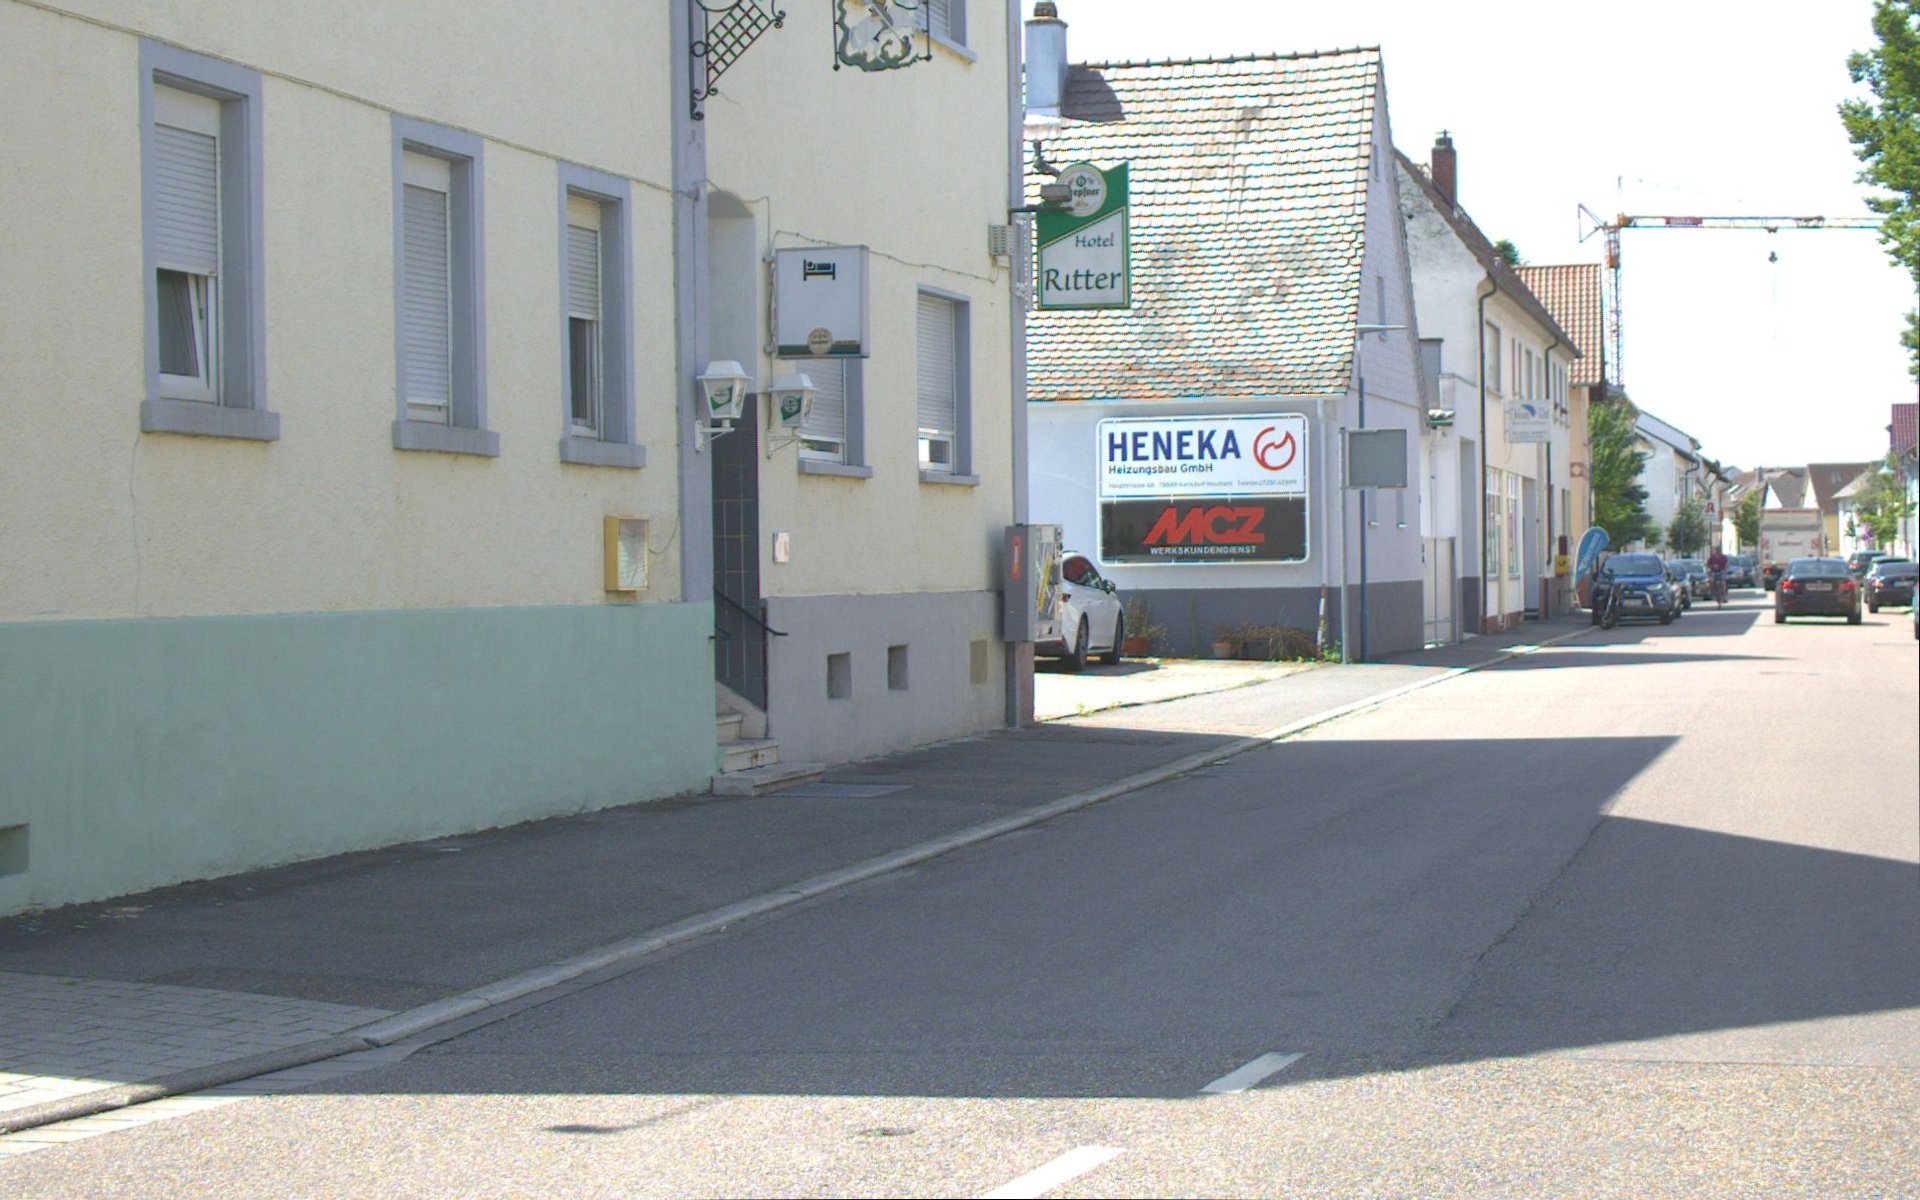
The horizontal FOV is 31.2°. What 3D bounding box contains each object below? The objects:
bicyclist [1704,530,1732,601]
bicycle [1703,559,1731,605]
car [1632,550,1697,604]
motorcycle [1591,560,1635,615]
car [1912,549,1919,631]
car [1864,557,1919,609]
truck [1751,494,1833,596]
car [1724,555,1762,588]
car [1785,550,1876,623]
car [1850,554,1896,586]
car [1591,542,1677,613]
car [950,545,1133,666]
[{"bbox_3d":[22.177,-1.001,100.619,0.740,2.052,0.844,1,0,13],"label":"bicyclist"},{"bbox_3d":[22.136,-0.519,100.496,0.751,1.303,2.684,1,1,13],"label":"bicycle"},{"bbox_3d":[21.239,-0.698,103.555,1.810,1.583,3.998,0,1,13],"label":"car"},{"bbox_3d":[14.308,-0.288,75.299,0.846,1.166,2.468,1,1,12],"label":"motorcycle"},{"bbox_3d":[18.470,-0.206,63.437,1.721,1.456,4.153,0,1,15],"label":"car"},{"bbox_3d":[24.867,-0.467,91.017,1.720,1.350,4.154,0,1,14],"label":"car"},{"bbox_3d":[36.233,-2.352,149.544,3.147,4.236,9.295,1,1,15],"label":"truck"},{"bbox_3d":[38.959,-1.436,171.118,1.810,1.583,3.998,0,1,13],"label":"car"},{"bbox_3d":[19.344,-0.328,76.318,1.903,1.558,4.473,0,1,15],"label":"car"},{"bbox_3d":[36.841,-1.227,138.715,1.720,1.264,4.154,0,1,14],"label":"car"},{"bbox_3d":[15.508,-0.527,78.968,1.810,1.583,3.998,0,1,13],"label":"car"},{"bbox_3d":[1.165,0.034,47.036,1.720,1.550,4.197,1,1,12],"label":"car"}]
